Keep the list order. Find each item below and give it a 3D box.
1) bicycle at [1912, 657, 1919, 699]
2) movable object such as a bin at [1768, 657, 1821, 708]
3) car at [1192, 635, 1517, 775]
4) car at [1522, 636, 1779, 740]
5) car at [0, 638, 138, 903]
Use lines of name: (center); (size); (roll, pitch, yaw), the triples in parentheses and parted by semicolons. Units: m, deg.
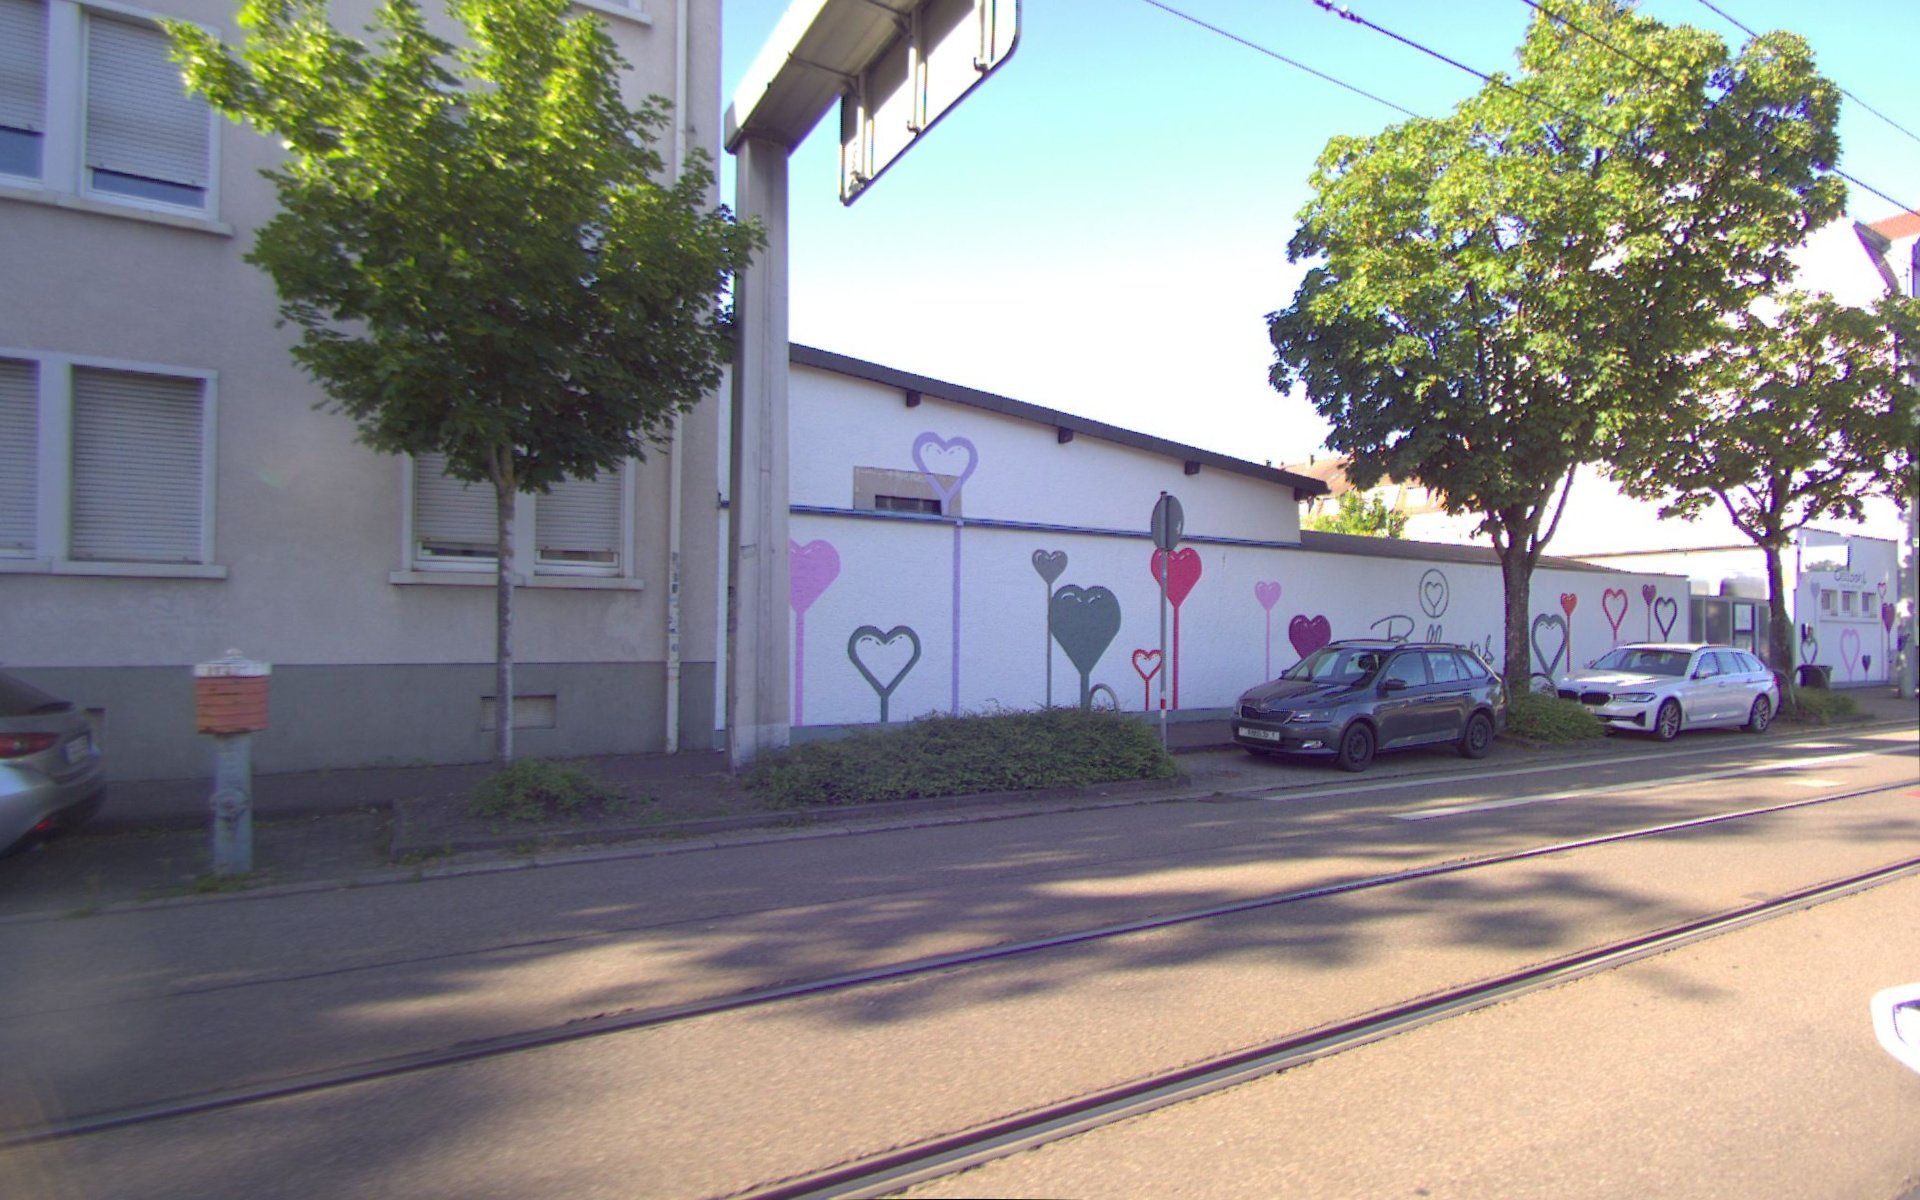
bicycle: (24.989, 1.975, 25.043); (1.750, 1.054, 0.670); (1, -1, 8)
movable object such as a bin: (17.456, 1.712, 21.021); (0.694, 0.973, 0.579); (2, 3, -30)
car: (5.191, 1.253, 13.063); (4.258, 1.505, 1.763); (2, -1, -32)
car: (11.775, 1.418, 17.053); (4.607, 1.510, 1.855); (2, -1, -31)
car: (-7.516, 0.951, 5.589); (4.243, 1.448, 1.864); (2, -1, -30)
